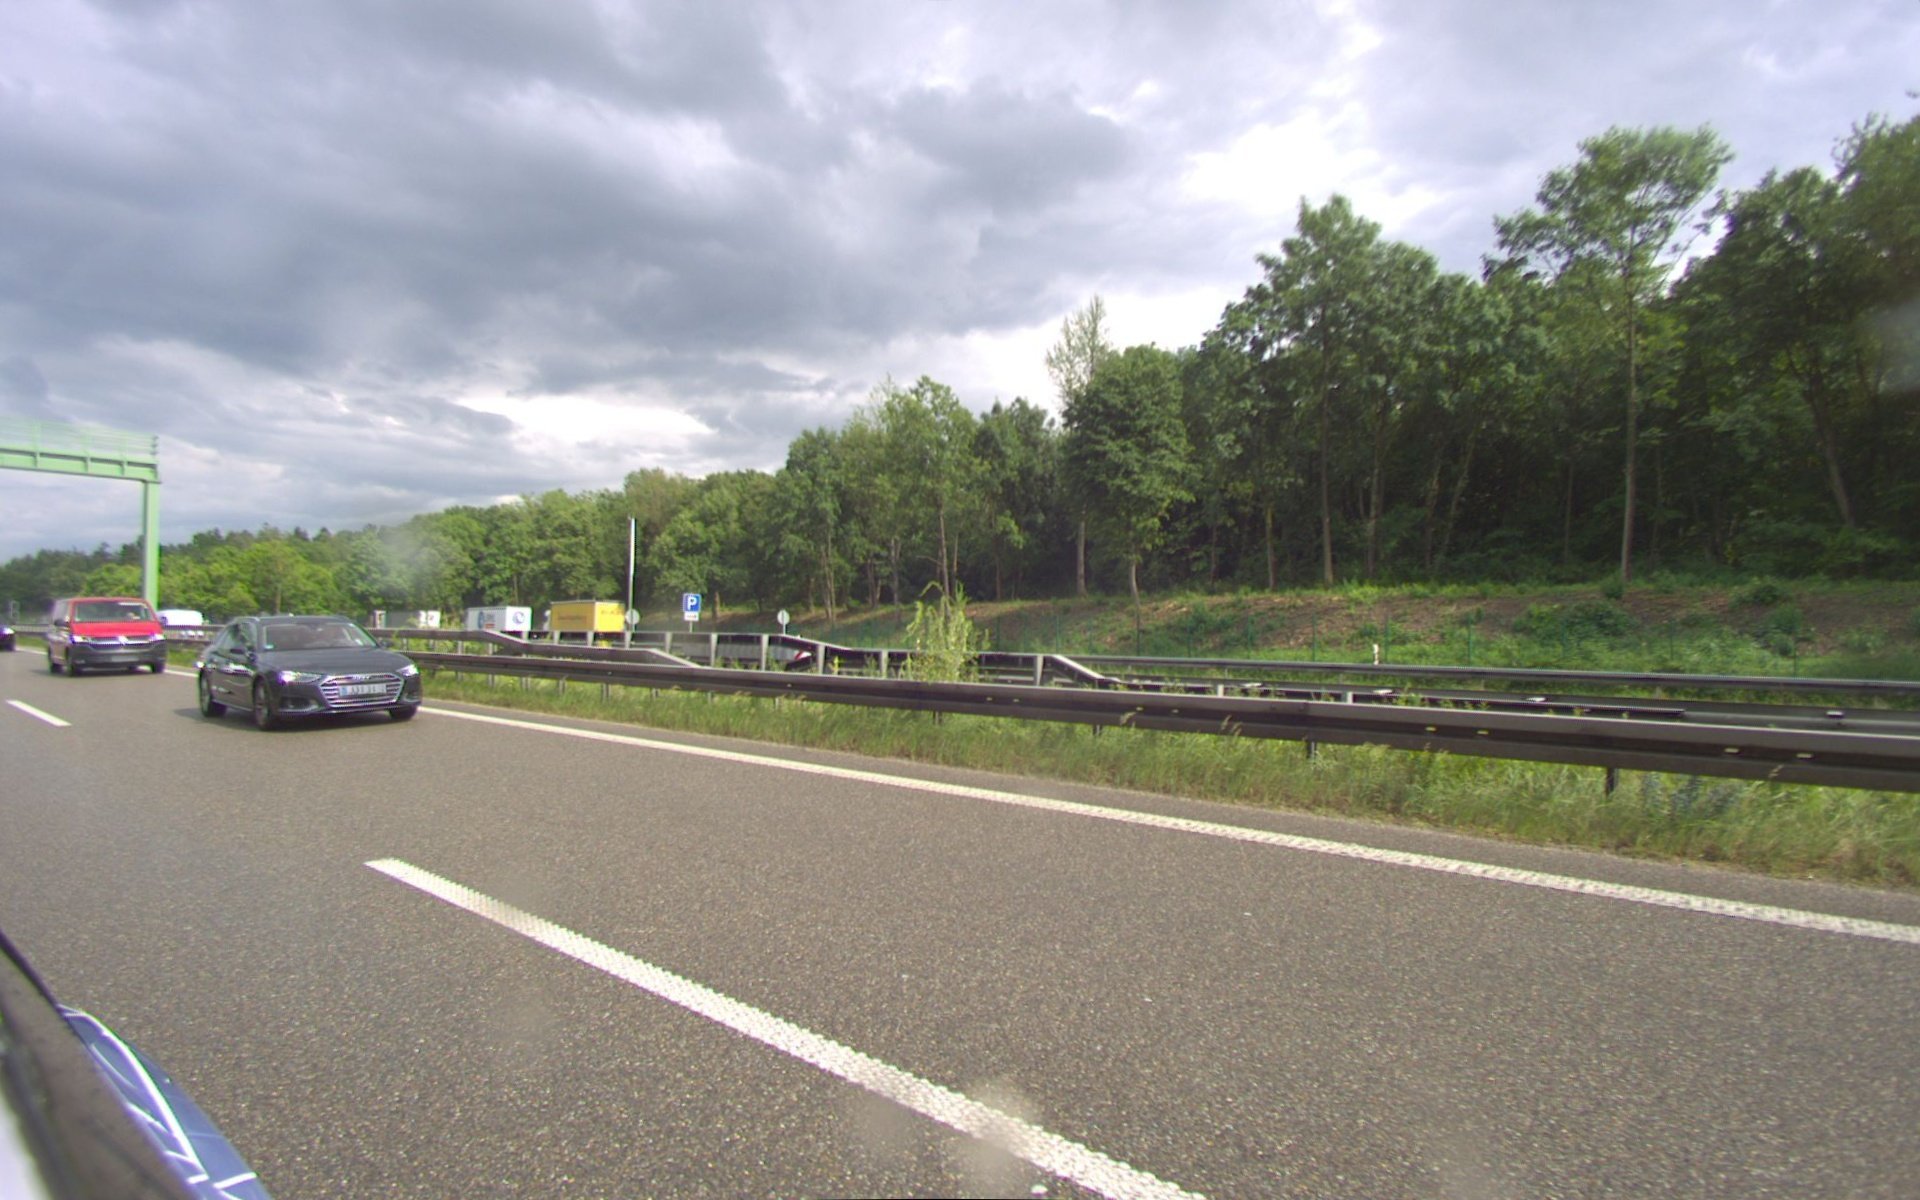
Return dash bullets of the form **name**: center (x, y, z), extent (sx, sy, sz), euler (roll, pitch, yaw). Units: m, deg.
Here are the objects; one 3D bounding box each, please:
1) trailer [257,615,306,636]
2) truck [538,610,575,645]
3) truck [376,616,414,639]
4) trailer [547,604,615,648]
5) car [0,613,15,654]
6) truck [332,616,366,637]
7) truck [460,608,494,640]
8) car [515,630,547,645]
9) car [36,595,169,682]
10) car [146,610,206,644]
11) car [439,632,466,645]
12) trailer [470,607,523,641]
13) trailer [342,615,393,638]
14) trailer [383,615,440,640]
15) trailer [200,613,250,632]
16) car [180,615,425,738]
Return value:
- **trailer**: center (-115.628, 4.340, 172.294), extent (12.632, 3.296, 3.153), euler (-1, -3, 39)
- **truck**: center (-38.313, 2.574, 96.083), extent (1.950, 3.121, 5.087), euler (-1, 0, -37)
- **truck**: center (-79.896, 3.881, 143.082), extent (5.597, 3.208, 3.009), euler (-1, -3, 43)
- **trailer**: center (-33.977, 2.217, 90.269), extent (1.967, 3.723, 13.689), euler (0, 0, -37)
- **car**: center (-41.561, 1.427, 42.819), extent (4.292, 1.682, 1.871), euler (-1, -1, 41)
- **truck**: center (-93.839, 4.056, 155.472), extent (6.532, 3.275, 2.548), euler (-1, -2, 41)
- **truck**: center (-56.826, 2.855, 118.949), extent (2.136, 3.648, 5.585), euler (2, -3, -41)
- **car**: center (-44.462, 3.903, 104.958), extent (1.871, 1.514, 4.005), euler (2, -2, -41)
- **car**: center (-21.940, 0.937, 25.821), extent (4.747, 2.000, 1.871), euler (-1, -1, 41)
- **car**: center (-45.950, 1.592, 59.298), extent (4.618, 1.848, 1.973), euler (-1, 0, 42)
- **car**: center (-63.571, 4.821, 126.833), extent (1.873, 1.514, 4.002), euler (2, -3, -45)
- **trailer**: center (-52.104, 2.704, 113.572), extent (2.156, 3.627, 11.735), euler (2, -3, -41)
- **trailer**: center (-88.389, 3.976, 150.742), extent (12.641, 3.296, 2.577), euler (-1, -3, 41)
- **trailer**: center (-74.910, 3.751, 138.048), extent (12.174, 3.217, 2.986), euler (-1, -3, 43)
- **trailer**: center (-135.900, 4.196, 187.019), extent (13.376, 3.296, 3.050), euler (-1, -2, 34)
- **car**: center (-9.243, 0.946, 14.074), extent (4.465, 1.422, 1.701), euler (-1, -1, 41)
